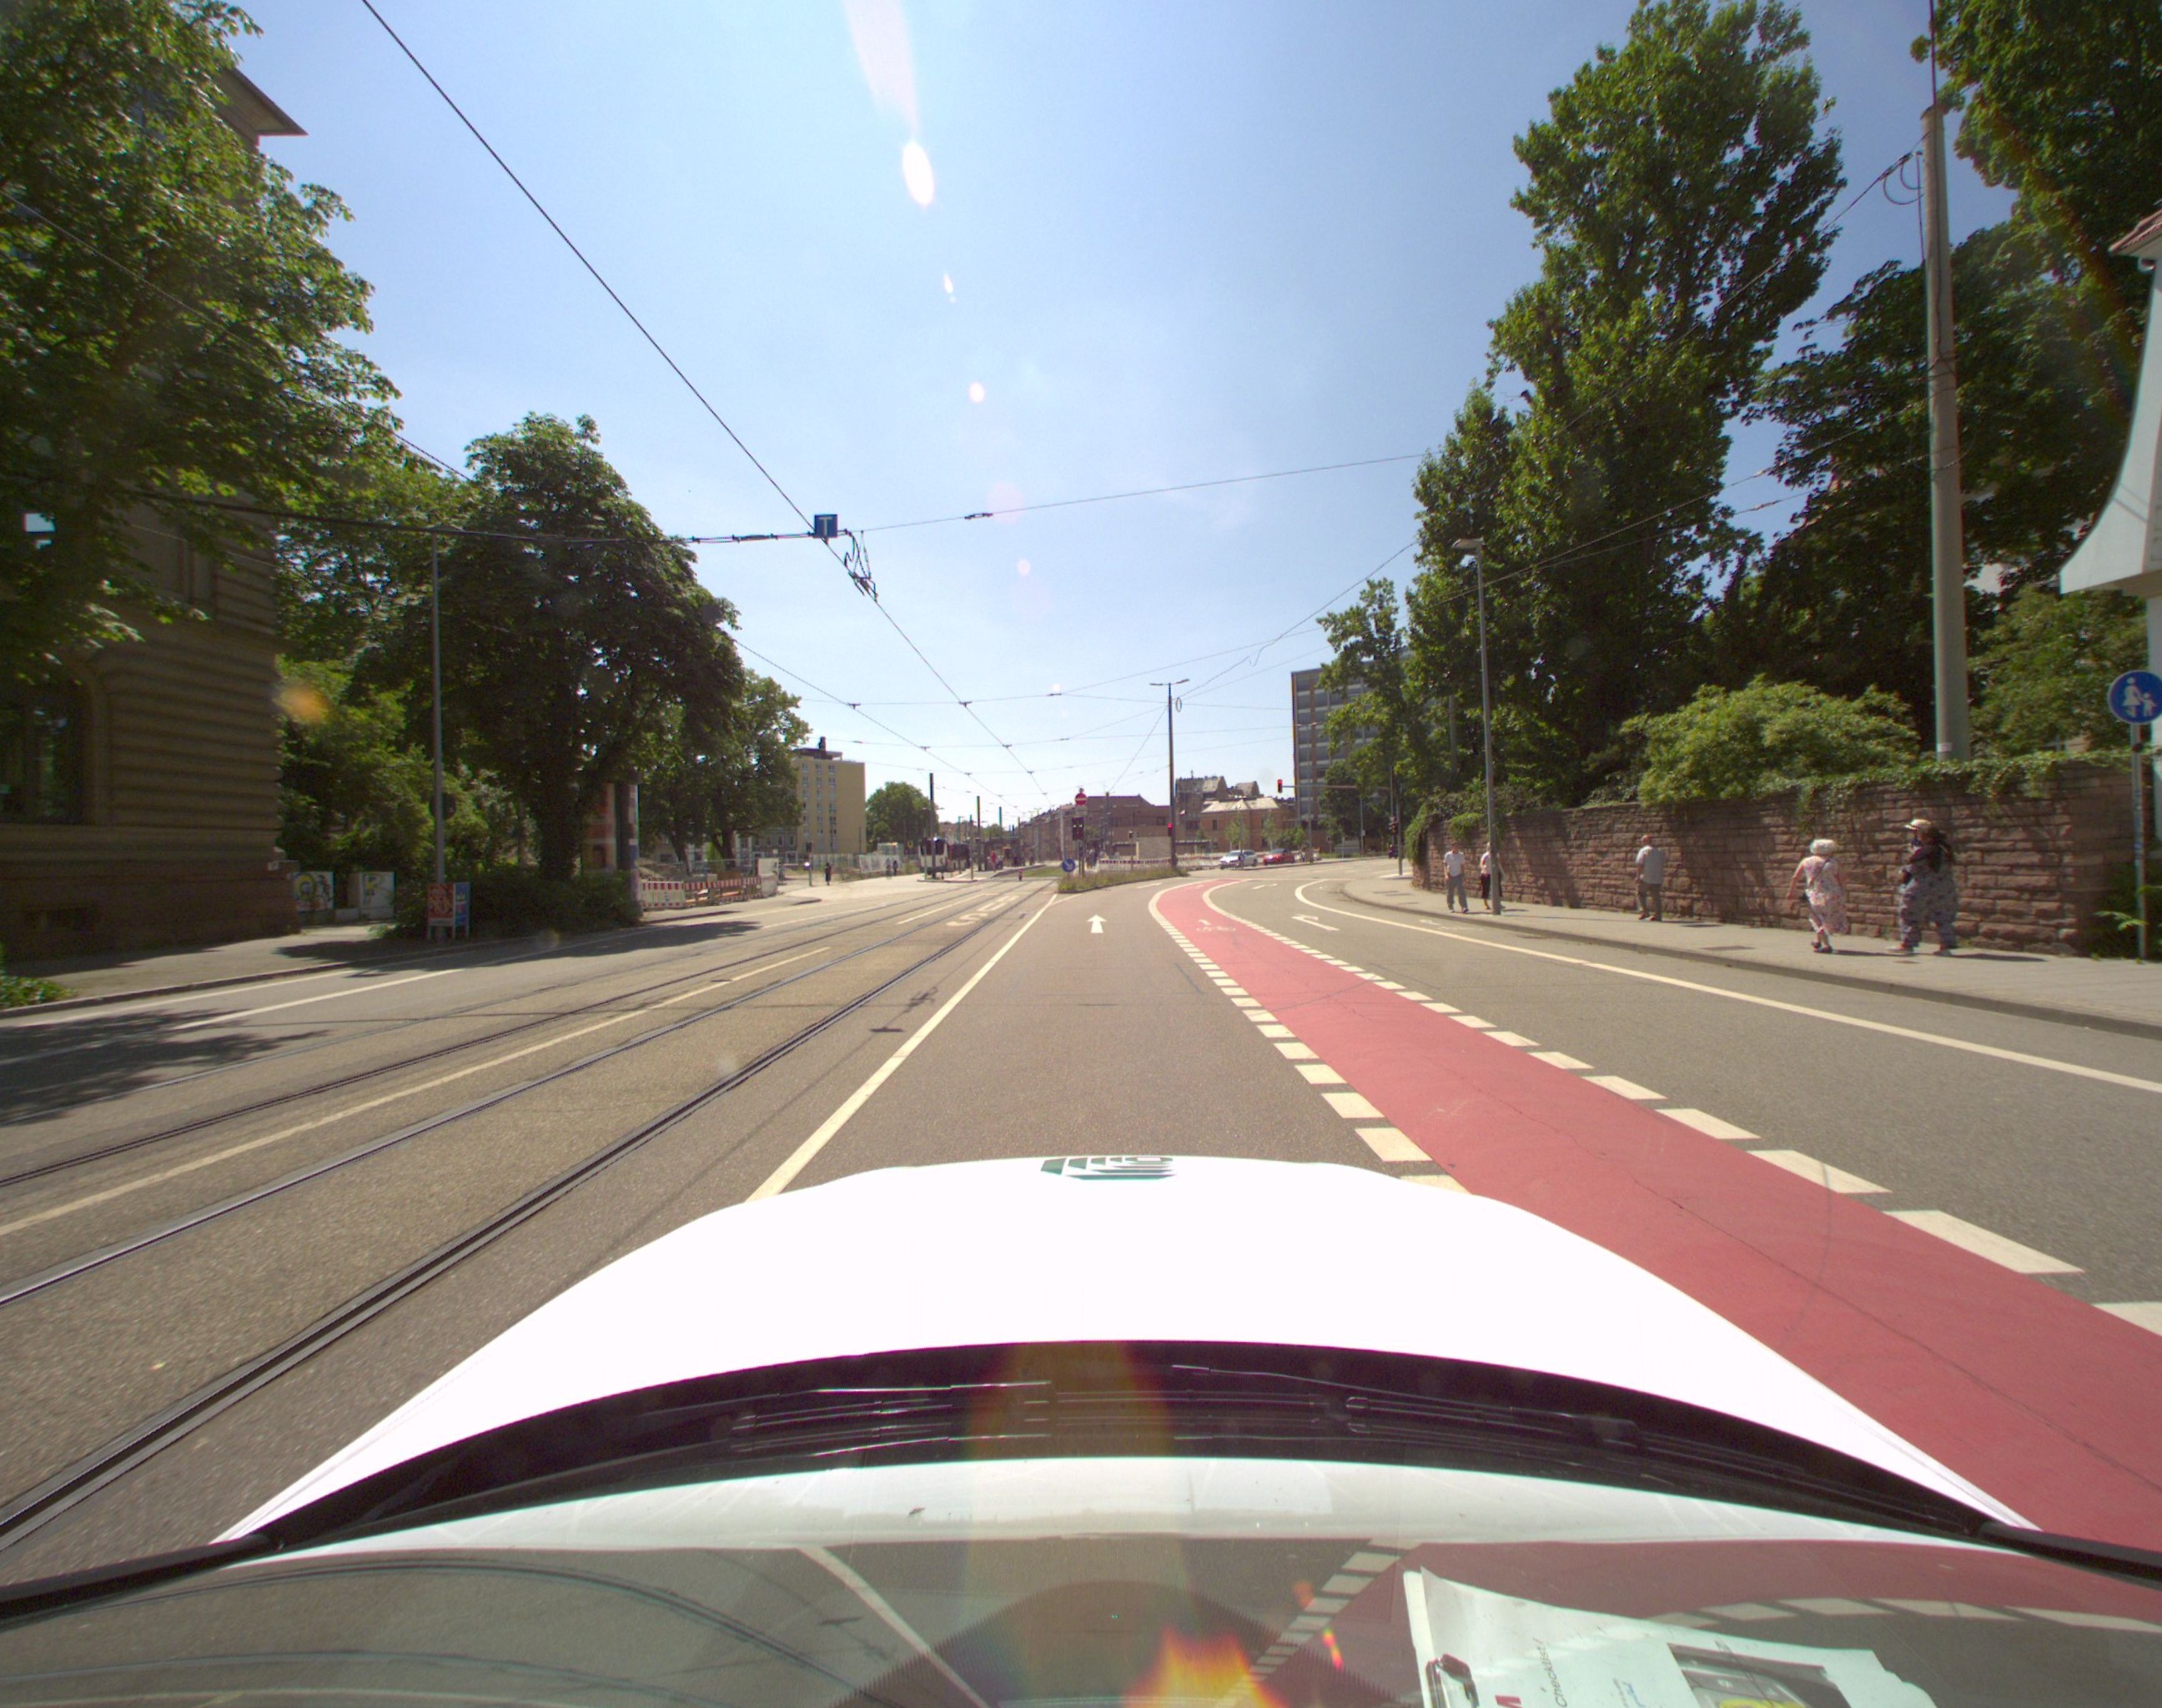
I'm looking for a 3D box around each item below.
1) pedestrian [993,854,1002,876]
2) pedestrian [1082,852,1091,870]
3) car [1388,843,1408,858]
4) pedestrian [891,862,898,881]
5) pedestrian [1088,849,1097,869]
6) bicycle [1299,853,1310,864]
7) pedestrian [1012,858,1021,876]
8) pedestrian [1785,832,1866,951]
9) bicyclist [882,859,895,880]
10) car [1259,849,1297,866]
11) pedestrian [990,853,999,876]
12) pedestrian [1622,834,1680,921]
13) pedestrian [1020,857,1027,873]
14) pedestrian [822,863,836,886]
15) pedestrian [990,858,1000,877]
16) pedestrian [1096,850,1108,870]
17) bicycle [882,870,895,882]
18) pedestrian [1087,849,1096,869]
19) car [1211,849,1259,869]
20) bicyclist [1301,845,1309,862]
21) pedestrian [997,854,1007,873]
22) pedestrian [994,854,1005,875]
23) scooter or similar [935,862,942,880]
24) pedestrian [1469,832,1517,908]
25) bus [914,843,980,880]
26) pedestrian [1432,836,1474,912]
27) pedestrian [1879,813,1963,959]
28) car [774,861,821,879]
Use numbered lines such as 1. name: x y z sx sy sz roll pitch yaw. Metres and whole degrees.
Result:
1. pedestrian: -8.216 1.075 80.198 0.824 2.096 0.639 -2 0 -11
2. pedestrian: 0.519 0.642 75.223 0.726 1.707 0.741 -1 -1 -11
3. car: 34.219 -0.438 87.935 1.673 1.527 3.712 -2 0 26
4. pedestrian: -17.411 1.645 75.986 0.565 1.705 0.396 -2 0 -7
5. pedestrian: 1.124 0.486 77.344 0.717 1.923 1.073 -1 -1 -4
6. bicycle: 22.746 0.451 82.834 0.394 1.174 1.782 -2 -1 38
7. pedestrian: -7.718 1.514 97.570 0.894 2.096 0.833 -2 0 5
8. pedestrian: 9.999 0.490 10.959 0.513 1.533 0.598 -2 0 6
9. bicyclist: -15.685 1.245 66.365 0.819 1.709 0.770 -2 0 -3
10. car: 17.648 0.336 72.713 1.714 1.425 4.150 -2 -1 37
11. pedestrian: -7.263 0.891 68.666 0.672 1.909 0.638 -2 0 -9
12. pedestrian: 11.014 0.445 15.760 0.657 1.647 0.625 -2 0 6
13. pedestrian: -7.808 1.524 111.452 0.826 2.096 0.902 -2 0 0
14. pedestrian: -17.940 1.479 57.972 0.602 1.602 0.828 -2 0 11
15. pedestrian: -8.216 1.278 77.987 0.911 1.851 0.656 -2 0 -9
16. pedestrian: 2.005 0.585 77.023 0.771 1.864 0.722 0 -2 -40
17. bicycle: -15.676 1.812 66.327 0.502 0.914 2.368 -2 0 -2
18. pedestrian: 1.004 0.433 76.325 0.656 1.832 0.758 -2 0 -6
19. car: 12.422 0.384 65.521 1.974 1.438 4.735 -2 -1 35
20. bicyclist: 22.781 -0.019 82.802 0.561 1.719 0.510 -3 -1 42
21. pedestrian: -8.706 1.049 89.683 0.894 2.096 0.833 -2 0 5
22. pedestrian: -8.109 1.061 81.149 0.899 2.096 0.828 -2 0 -11
23. scooter or similar: -9.642 1.157 55.192 0.318 1.206 1.247 -2 0 -4
24. pedestrian: 10.148 0.393 20.070 0.810 1.808 0.701 -2 0 5
25. bus: -12.757 0.699 79.602 2.999 3.158 17.504 -2 0 2
26. pedestrian: 9.132 0.477 20.013 0.674 1.808 0.749 -2 0 5
27. pedestrian: 10.640 0.409 10.316 0.722 1.774 0.622 4 -4 -38
28. car: -28.811 1.660 82.817 4.154 1.649 1.858 -2 0 13
